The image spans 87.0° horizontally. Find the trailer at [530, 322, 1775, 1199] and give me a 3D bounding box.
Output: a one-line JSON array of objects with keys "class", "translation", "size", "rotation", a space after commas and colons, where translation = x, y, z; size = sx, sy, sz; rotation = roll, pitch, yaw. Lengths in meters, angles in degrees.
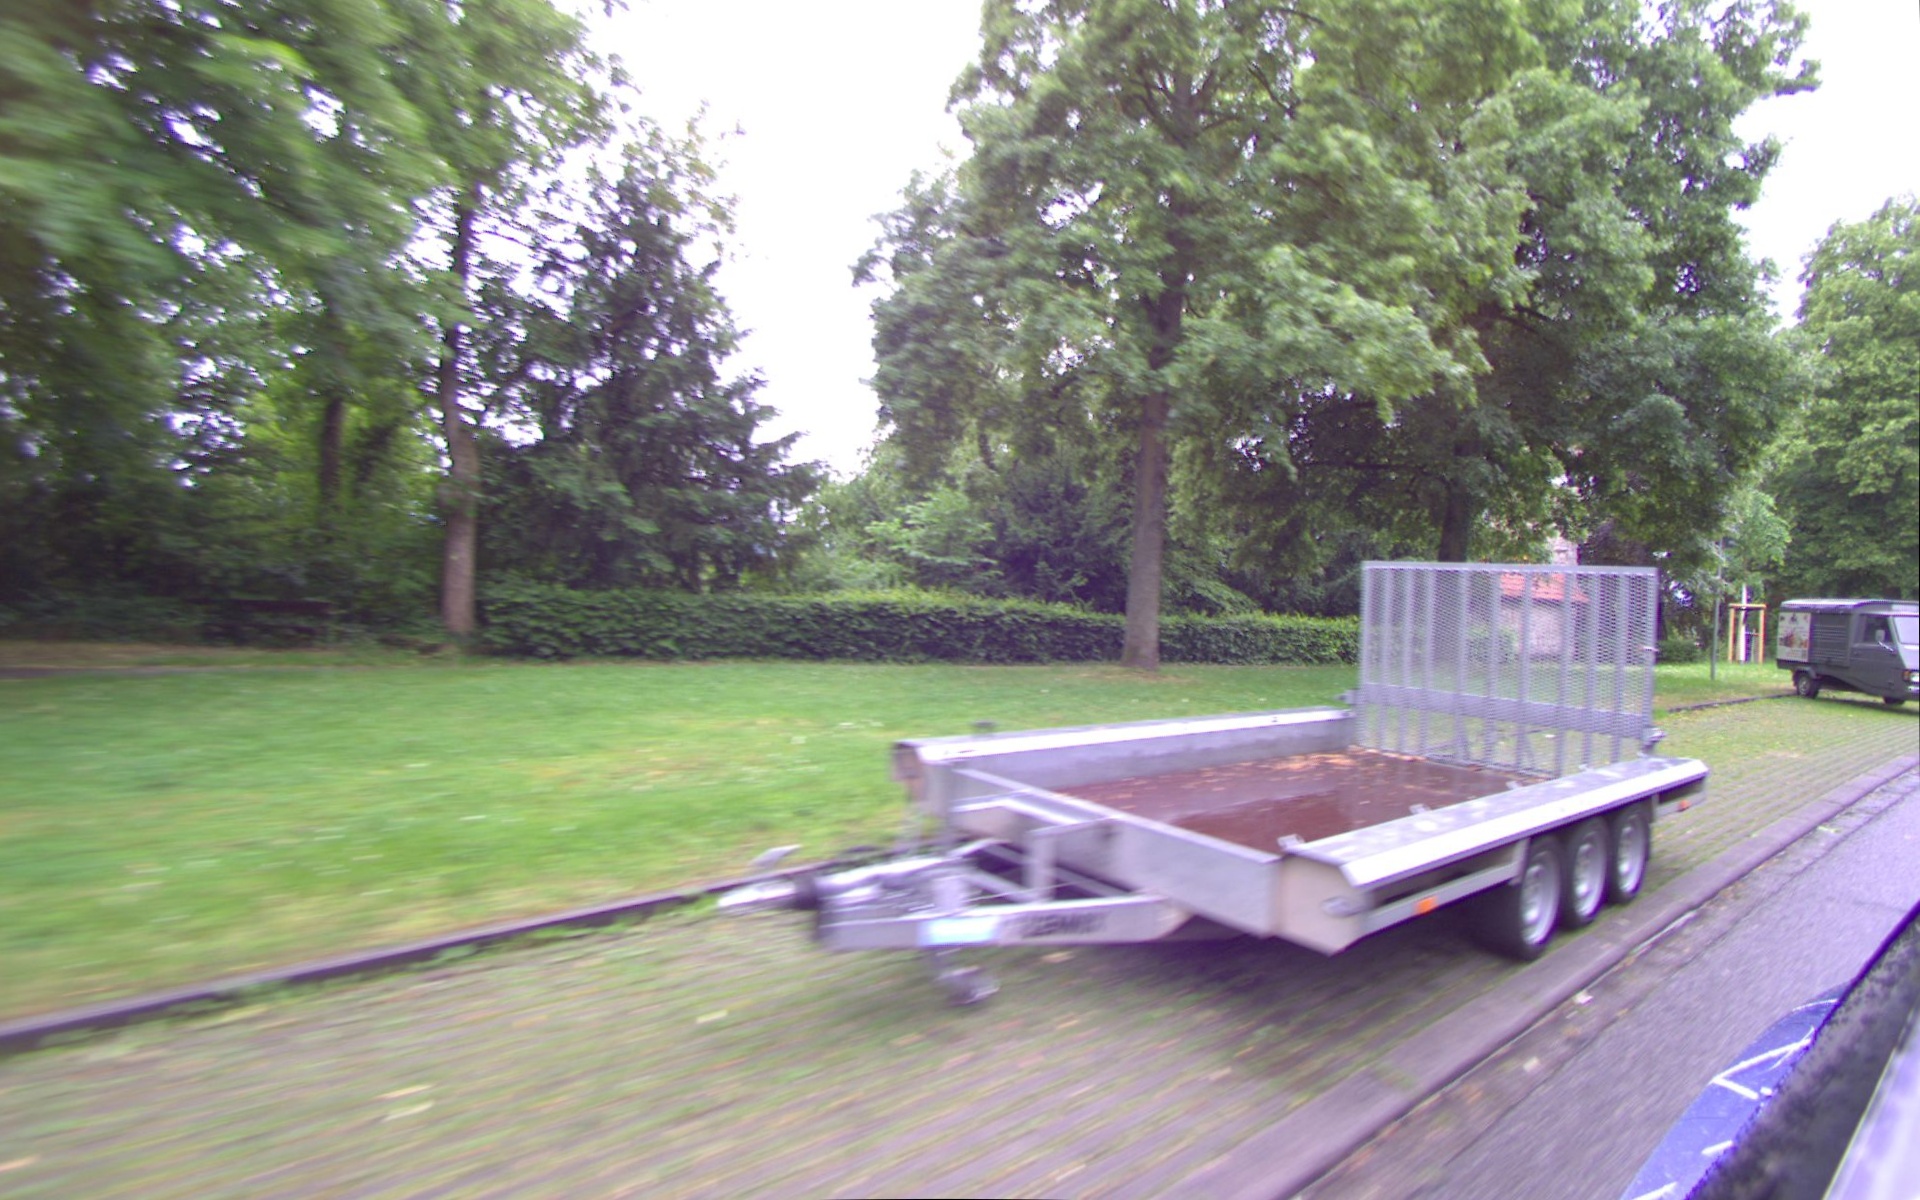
[{"class": "trailer", "translation": [1.444, 0.367, 4.591], "size": [5.788, 1.835, 2.455], "rotation": [0, 3, -41]}]

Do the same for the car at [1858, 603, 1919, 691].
[{"class": "car", "translation": [18.894, 0.929, 19.007], "size": [4.478, 1.516, 2.001], "rotation": [3, 1, -35]}]

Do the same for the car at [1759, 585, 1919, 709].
[{"class": "car", "translation": [14.853, 0.677, 16.163], "size": [1.587, 1.701, 3.994], "rotation": [3, 2, 12]}]
